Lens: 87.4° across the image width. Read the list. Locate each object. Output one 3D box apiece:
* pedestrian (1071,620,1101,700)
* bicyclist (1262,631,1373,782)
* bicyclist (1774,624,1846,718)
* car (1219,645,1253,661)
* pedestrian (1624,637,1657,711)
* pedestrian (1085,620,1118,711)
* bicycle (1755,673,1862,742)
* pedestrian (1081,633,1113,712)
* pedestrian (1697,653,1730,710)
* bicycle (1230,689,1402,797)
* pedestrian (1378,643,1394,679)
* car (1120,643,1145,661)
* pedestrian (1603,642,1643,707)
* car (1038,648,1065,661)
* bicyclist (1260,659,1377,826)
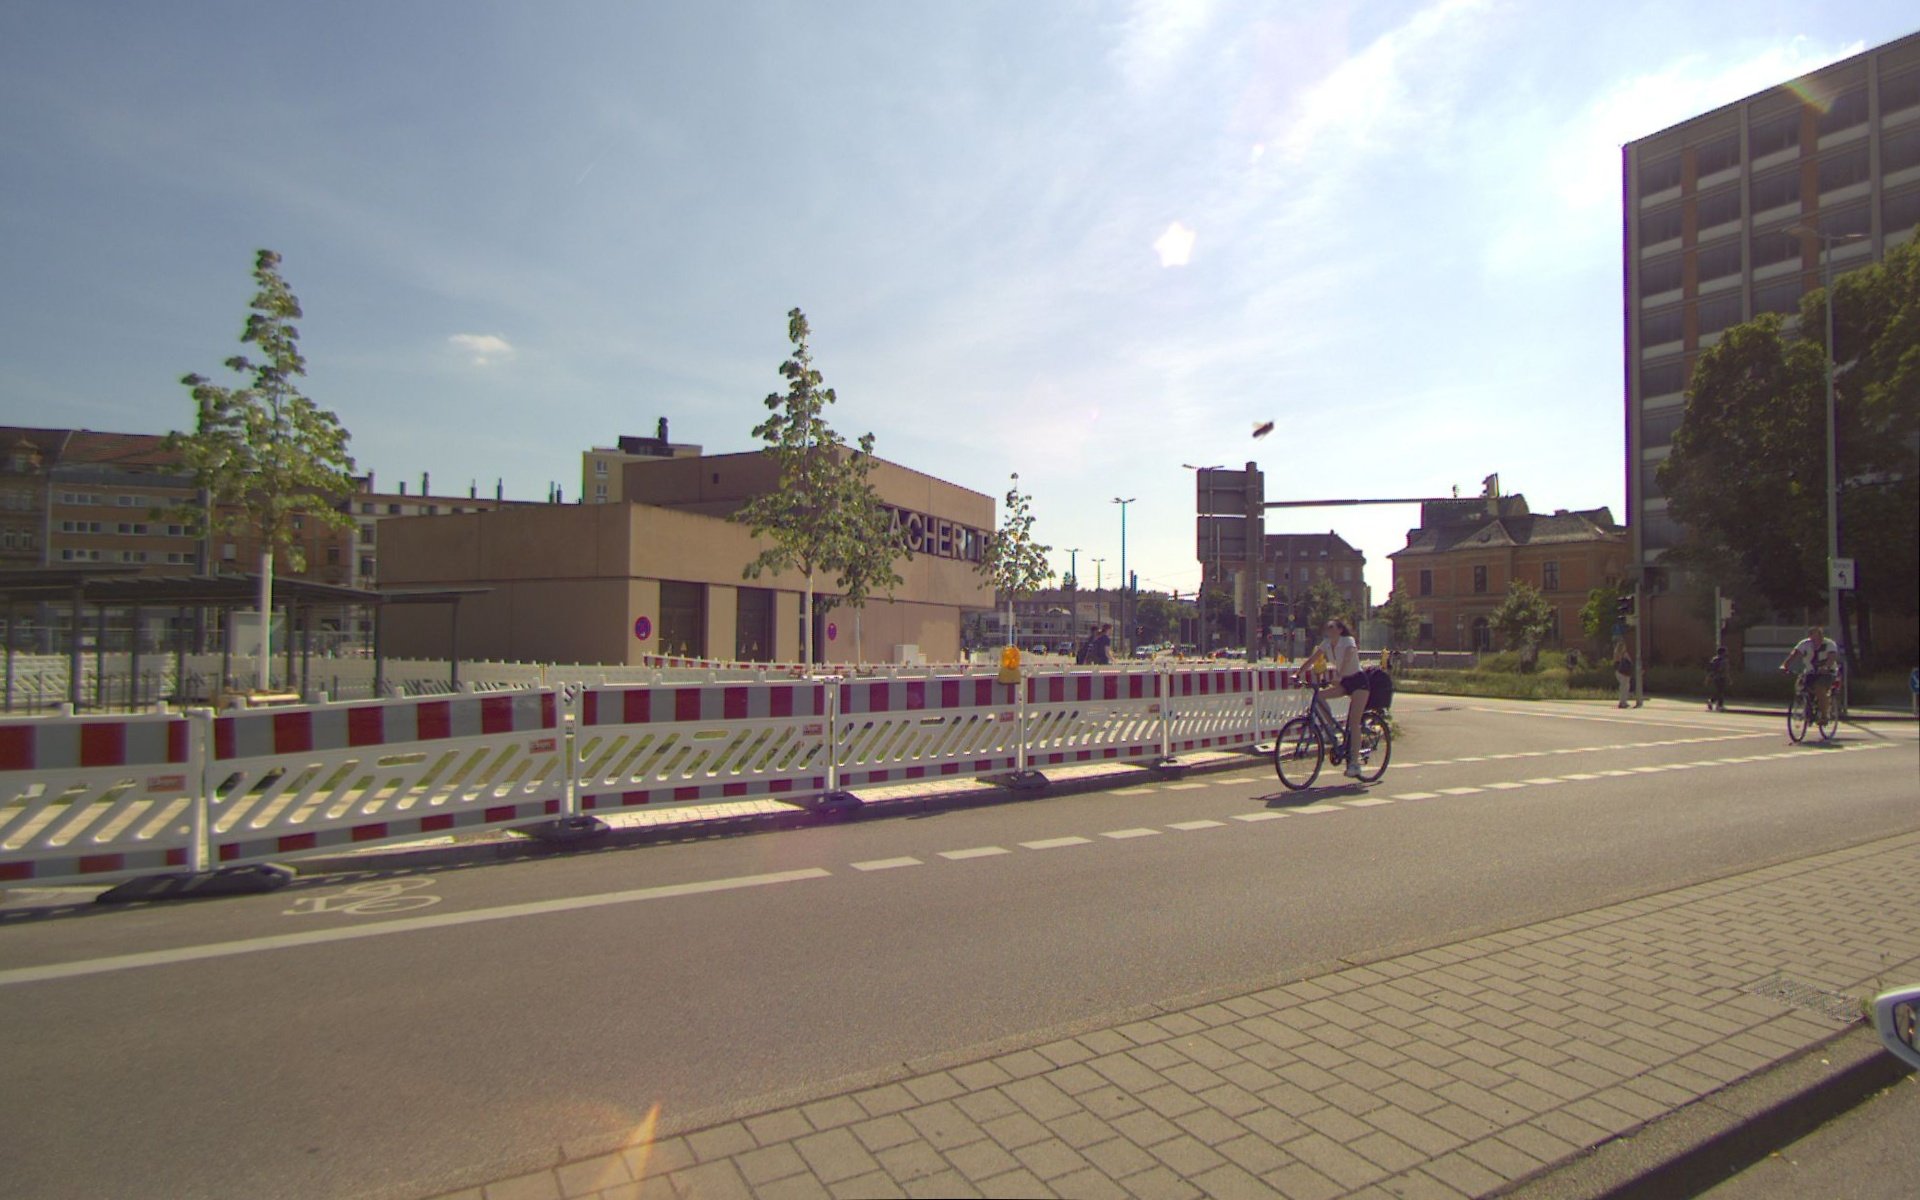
[{"bbox_3d":[2.875,1.362,22.973,0.559,1.801,0.544,1,-2,-9],"label":"pedestrian"},{"bbox_3d":[3.662,1.067,10.302,0.911,1.462,0.615,2,-5,-35],"label":"bicyclist"},{"bbox_3d":[13.363,1.112,15.788,1.019,1.435,0.536,3,-4,-32],"label":"bicyclist"},{"bbox_3d":[34.529,6.640,125.661,3.953,2.040,1.984,2,-3,-30],"label":"car"},{"bbox_3d":[19.235,2.074,28.403,0.604,2.040,0.687,2,-1,23],"label":"pedestrian"},{"bbox_3d":[3.049,1.404,21.686,0.595,1.940,0.441,1,-2,-9],"label":"pedestrian"},{"bbox_3d":[13.343,1.659,15.787,2.008,0.990,0.700,2,-3,-32],"label":"bicycle"},{"bbox_3d":[3.038,1.610,22.306,0.559,1.731,0.539,1,-2,-9],"label":"pedestrian"},{"bbox_3d":[20.495,2.204,27.313,0.624,1.511,0.613,-2,-3,44],"label":"pedestrian"},{"bbox_3d":[3.667,1.418,10.278,1.948,0.973,0.615,2,-5,-35],"label":"bicycle"},{"bbox_3d":[24.259,3.484,57.229,0.517,2.040,0.622,2,-3,-34],"label":"pedestrian"},{"bbox_3d":[19.266,5.779,112.005,1.961,2.040,4.000,-1,-3,21],"label":"car"},{"bbox_3d":[18.647,2.095,28.251,0.728,1.775,1.104,-2,-5,44],"label":"pedestrian"},{"bbox_3d":[12.693,7.511,139.497,3.973,1.739,1.630,3,-4,-44],"label":"car"},{"bbox_3d":[3.668,1.418,10.278,1.004,1.602,0.615,2,-5,-35],"label":"bicyclist"}]
